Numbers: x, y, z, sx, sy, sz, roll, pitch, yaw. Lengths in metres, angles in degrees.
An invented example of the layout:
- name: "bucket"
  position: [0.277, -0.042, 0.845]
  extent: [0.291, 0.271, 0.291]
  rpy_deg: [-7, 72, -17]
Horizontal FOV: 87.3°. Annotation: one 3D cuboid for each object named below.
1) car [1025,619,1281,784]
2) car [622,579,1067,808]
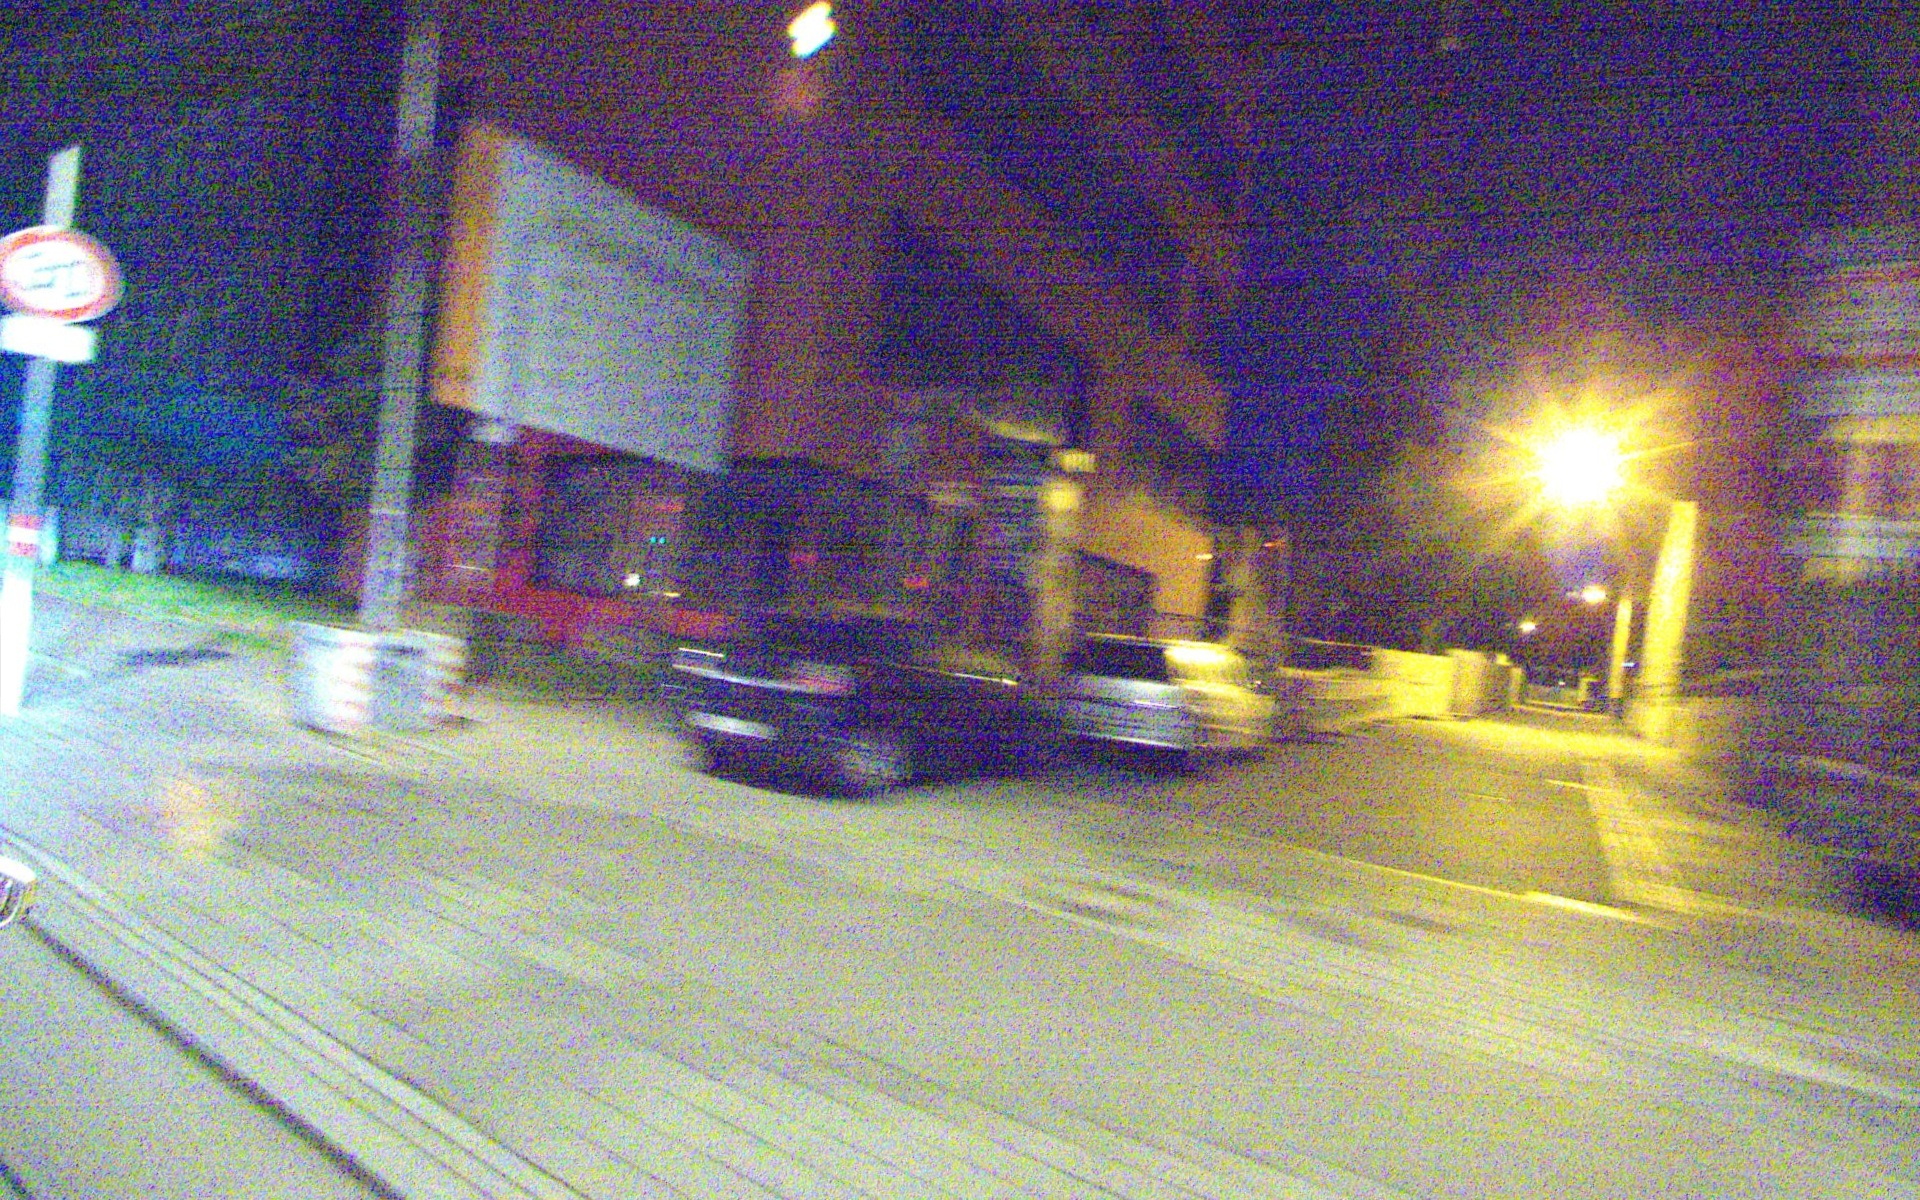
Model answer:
- name: "car"
  position: [2.565, 1.194, 12.466]
  extent: [1.820, 1.485, 4.200]
  rpy_deg: [6, -1, 28]
- name: "car"
  position: [-0.739, 0.792, 8.963]
  extent: [1.821, 1.438, 4.023]
  rpy_deg: [5, -3, 30]
